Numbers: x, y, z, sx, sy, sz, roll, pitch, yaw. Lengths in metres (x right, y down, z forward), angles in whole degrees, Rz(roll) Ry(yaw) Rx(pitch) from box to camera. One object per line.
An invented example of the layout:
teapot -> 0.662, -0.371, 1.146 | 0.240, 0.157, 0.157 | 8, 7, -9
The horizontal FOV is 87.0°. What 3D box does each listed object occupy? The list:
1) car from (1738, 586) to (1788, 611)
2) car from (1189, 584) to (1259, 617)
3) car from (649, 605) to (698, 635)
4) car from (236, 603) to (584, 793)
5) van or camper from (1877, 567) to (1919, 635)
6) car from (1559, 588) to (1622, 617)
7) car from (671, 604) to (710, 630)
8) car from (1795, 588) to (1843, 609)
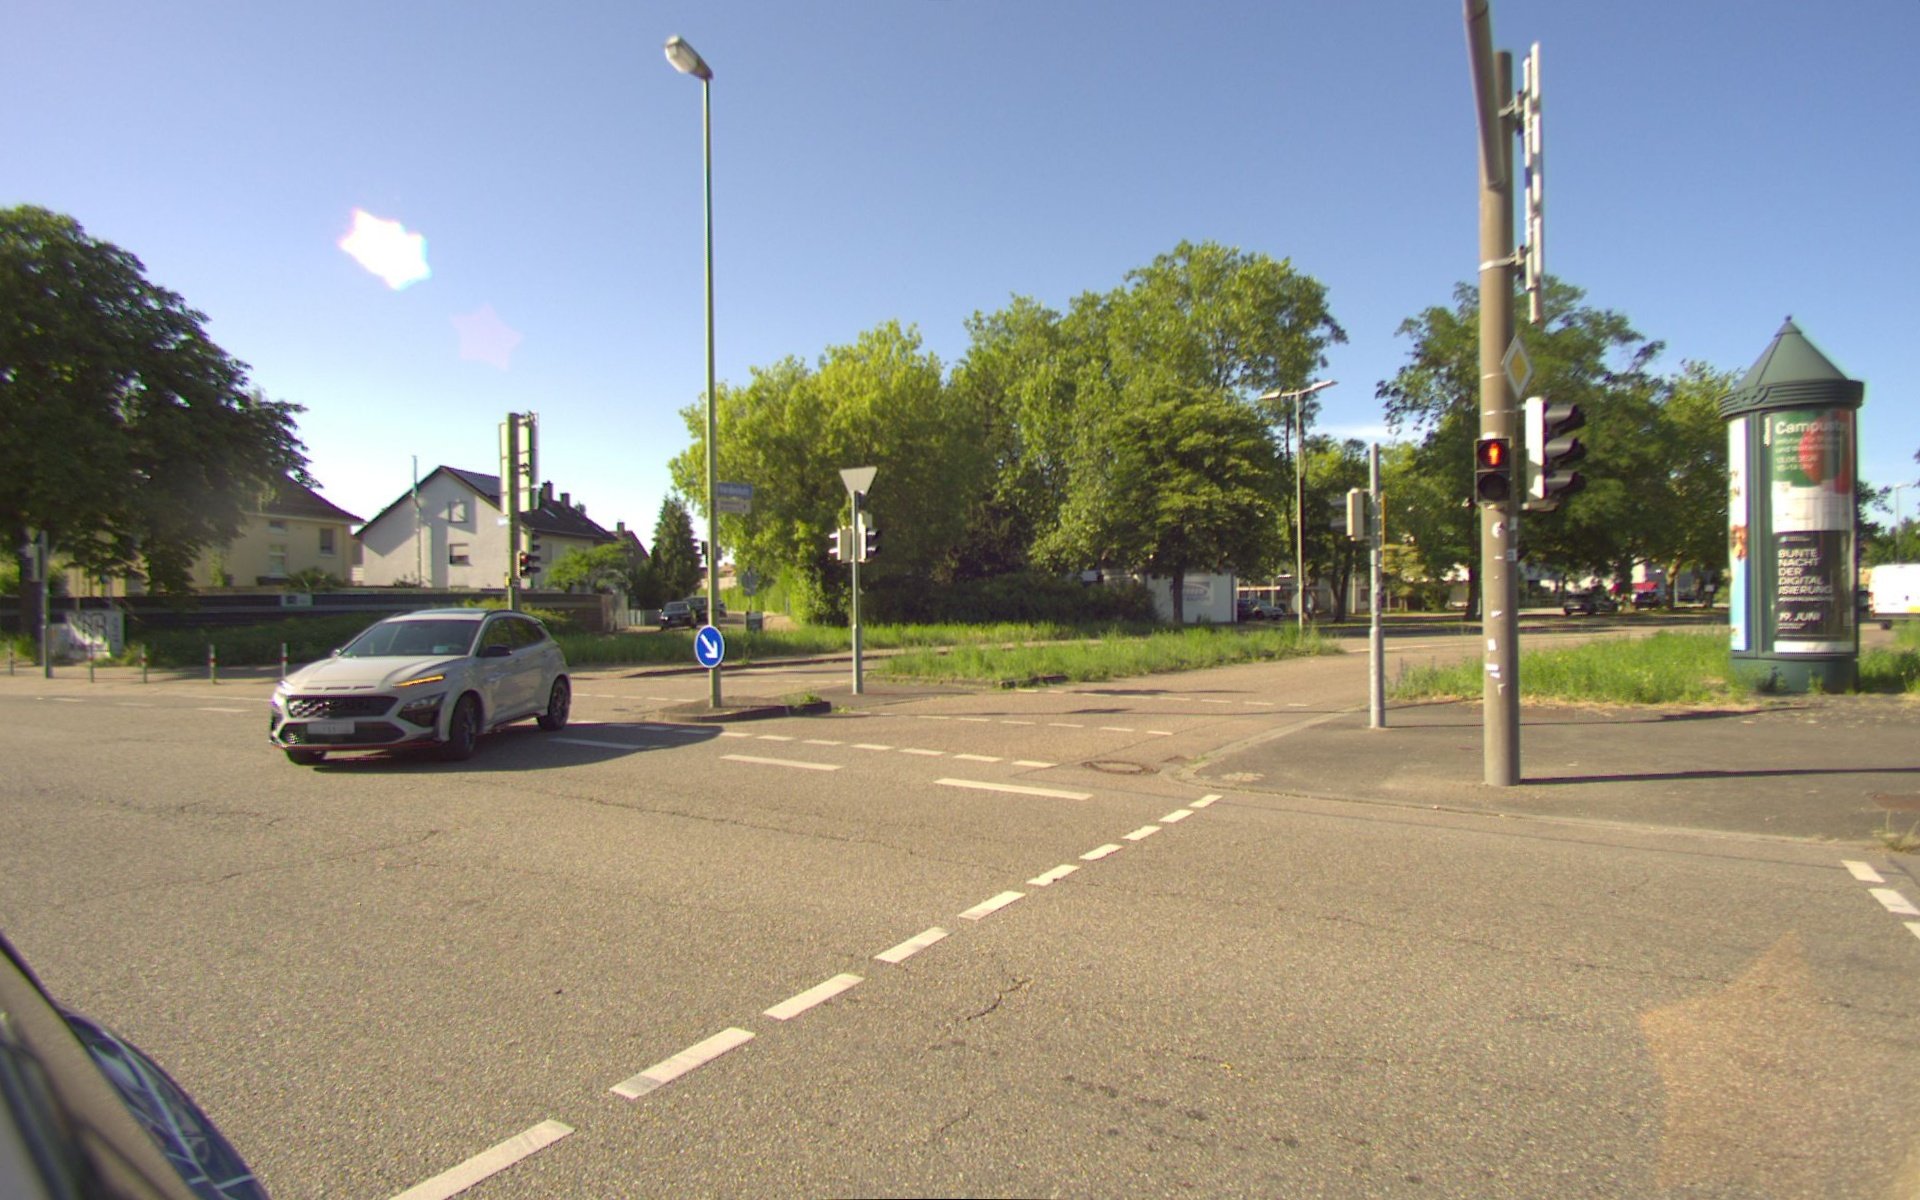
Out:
car -> 55.924, -0.153, 70.459 | 3.934, 1.631, 1.742 | -2, 2, -36
car -> 17.421, 0.041, 66.925 | 1.971, 2.029, 4.002 | -1, -1, -45
car -> -16.183, 1.090, 57.272 | 1.969, 1.568, 4.005 | -2, 0, -6
car -> -5.937, 0.935, 11.568 | 1.692, 1.658, 4.054 | -2, 1, 1
van or camper -> 39.081, 0.065, 39.976 | 6.500, 2.602, 2.613 | 1, -2, -33
car -> 42.079, 0.186, 67.582 | 3.932, 1.809, 2.016 | -1, -1, -32
car -> -18.231, 1.103, 68.672 | 1.933, 1.679, 4.005 | -1, 0, -6
car -> 61.724, -0.129, 72.748 | 3.426, 1.451, 1.877 | -2, 2, -36
